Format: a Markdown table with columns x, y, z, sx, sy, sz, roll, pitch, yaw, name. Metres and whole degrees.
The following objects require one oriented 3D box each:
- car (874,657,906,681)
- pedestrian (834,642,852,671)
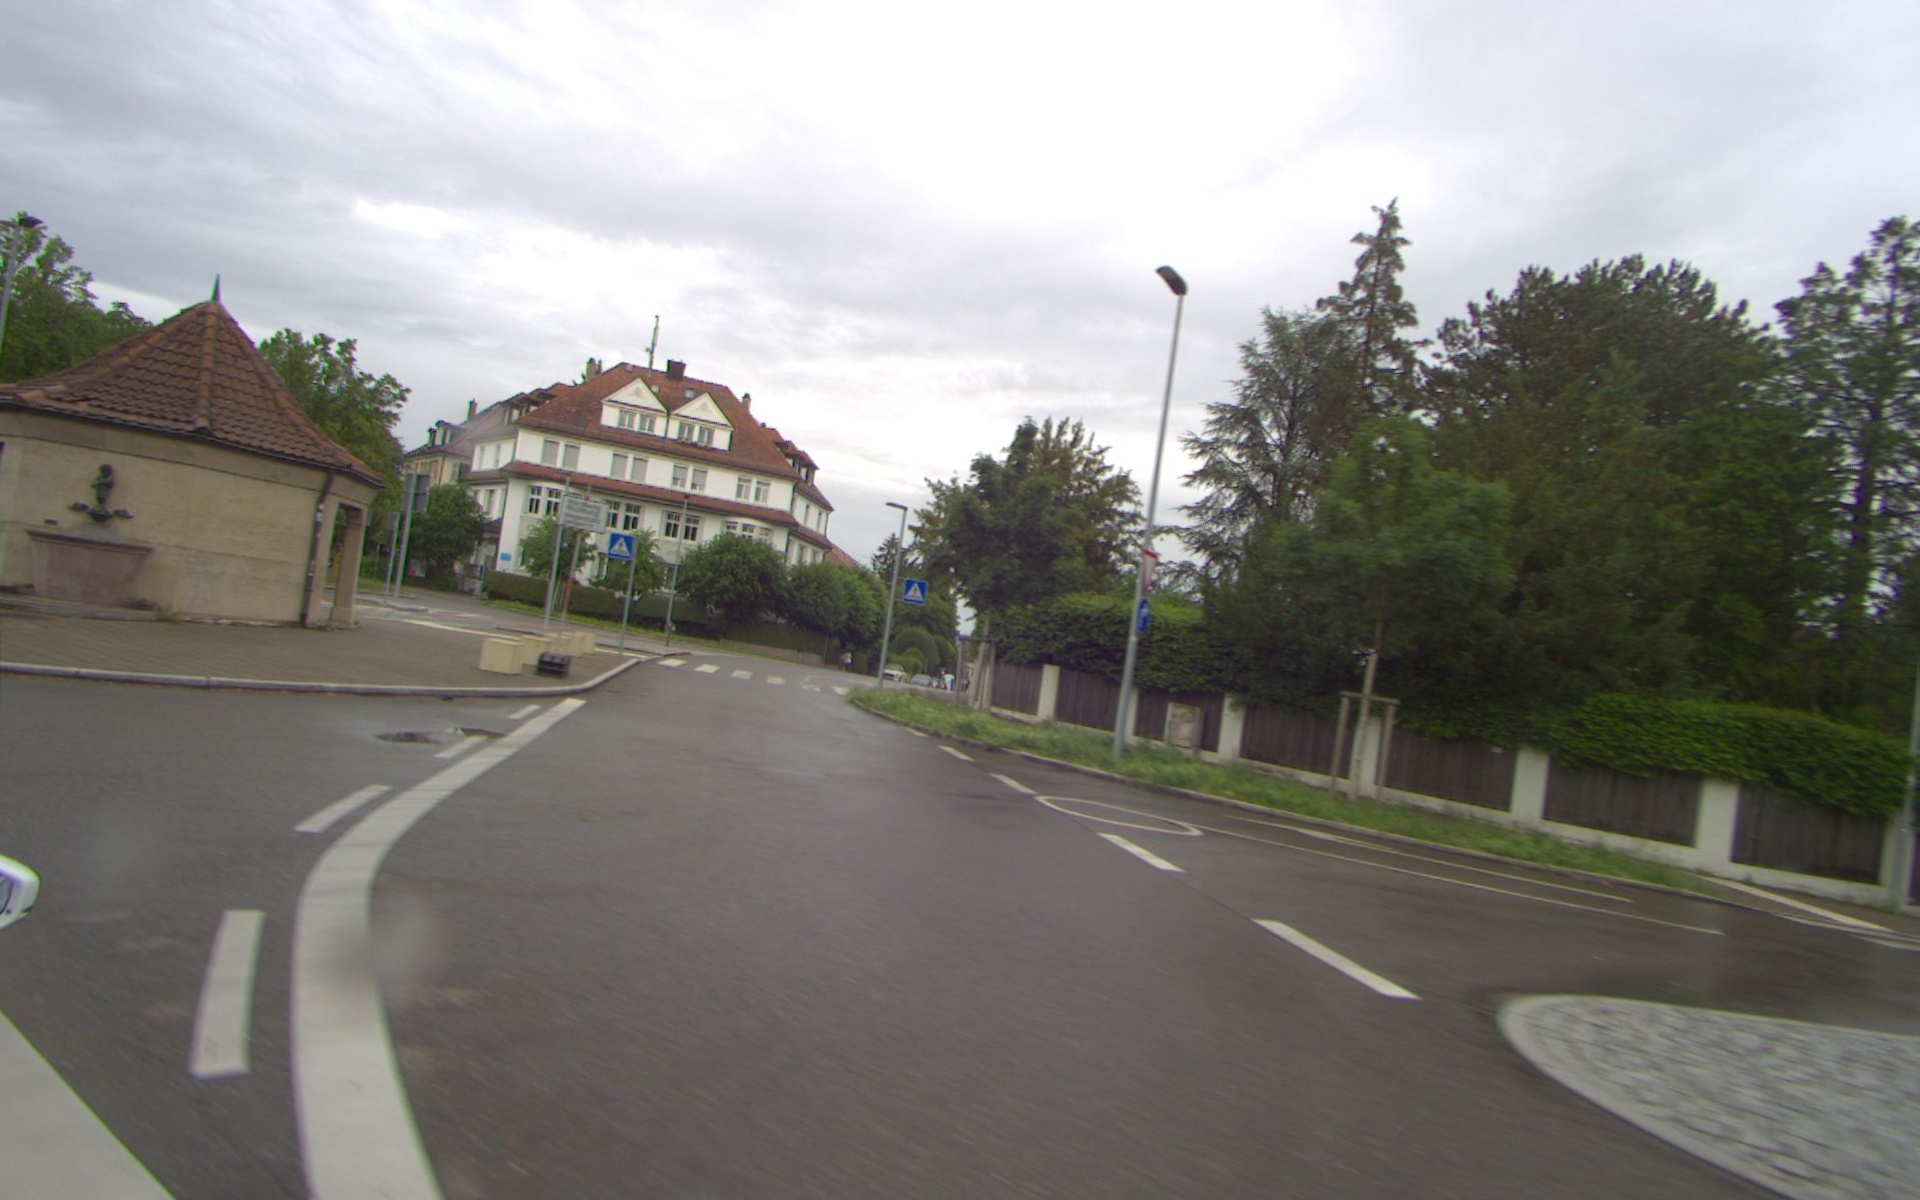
| x | y | z | sx | sy | sz | roll | pitch | yaw | name |
| --- | --- | --- | --- | --- | --- | --- | --- | --- | --- |
| -5.403 | 5.390 | 78.202 | 1.963 | 1.495 | 4.008 | 8 | -4 | 2 | car |
| -8.045 | 3.910 | 69.224 | 0.806 | 1.856 | 0.697 | 7 | -4 | 16 | pedestrian |
